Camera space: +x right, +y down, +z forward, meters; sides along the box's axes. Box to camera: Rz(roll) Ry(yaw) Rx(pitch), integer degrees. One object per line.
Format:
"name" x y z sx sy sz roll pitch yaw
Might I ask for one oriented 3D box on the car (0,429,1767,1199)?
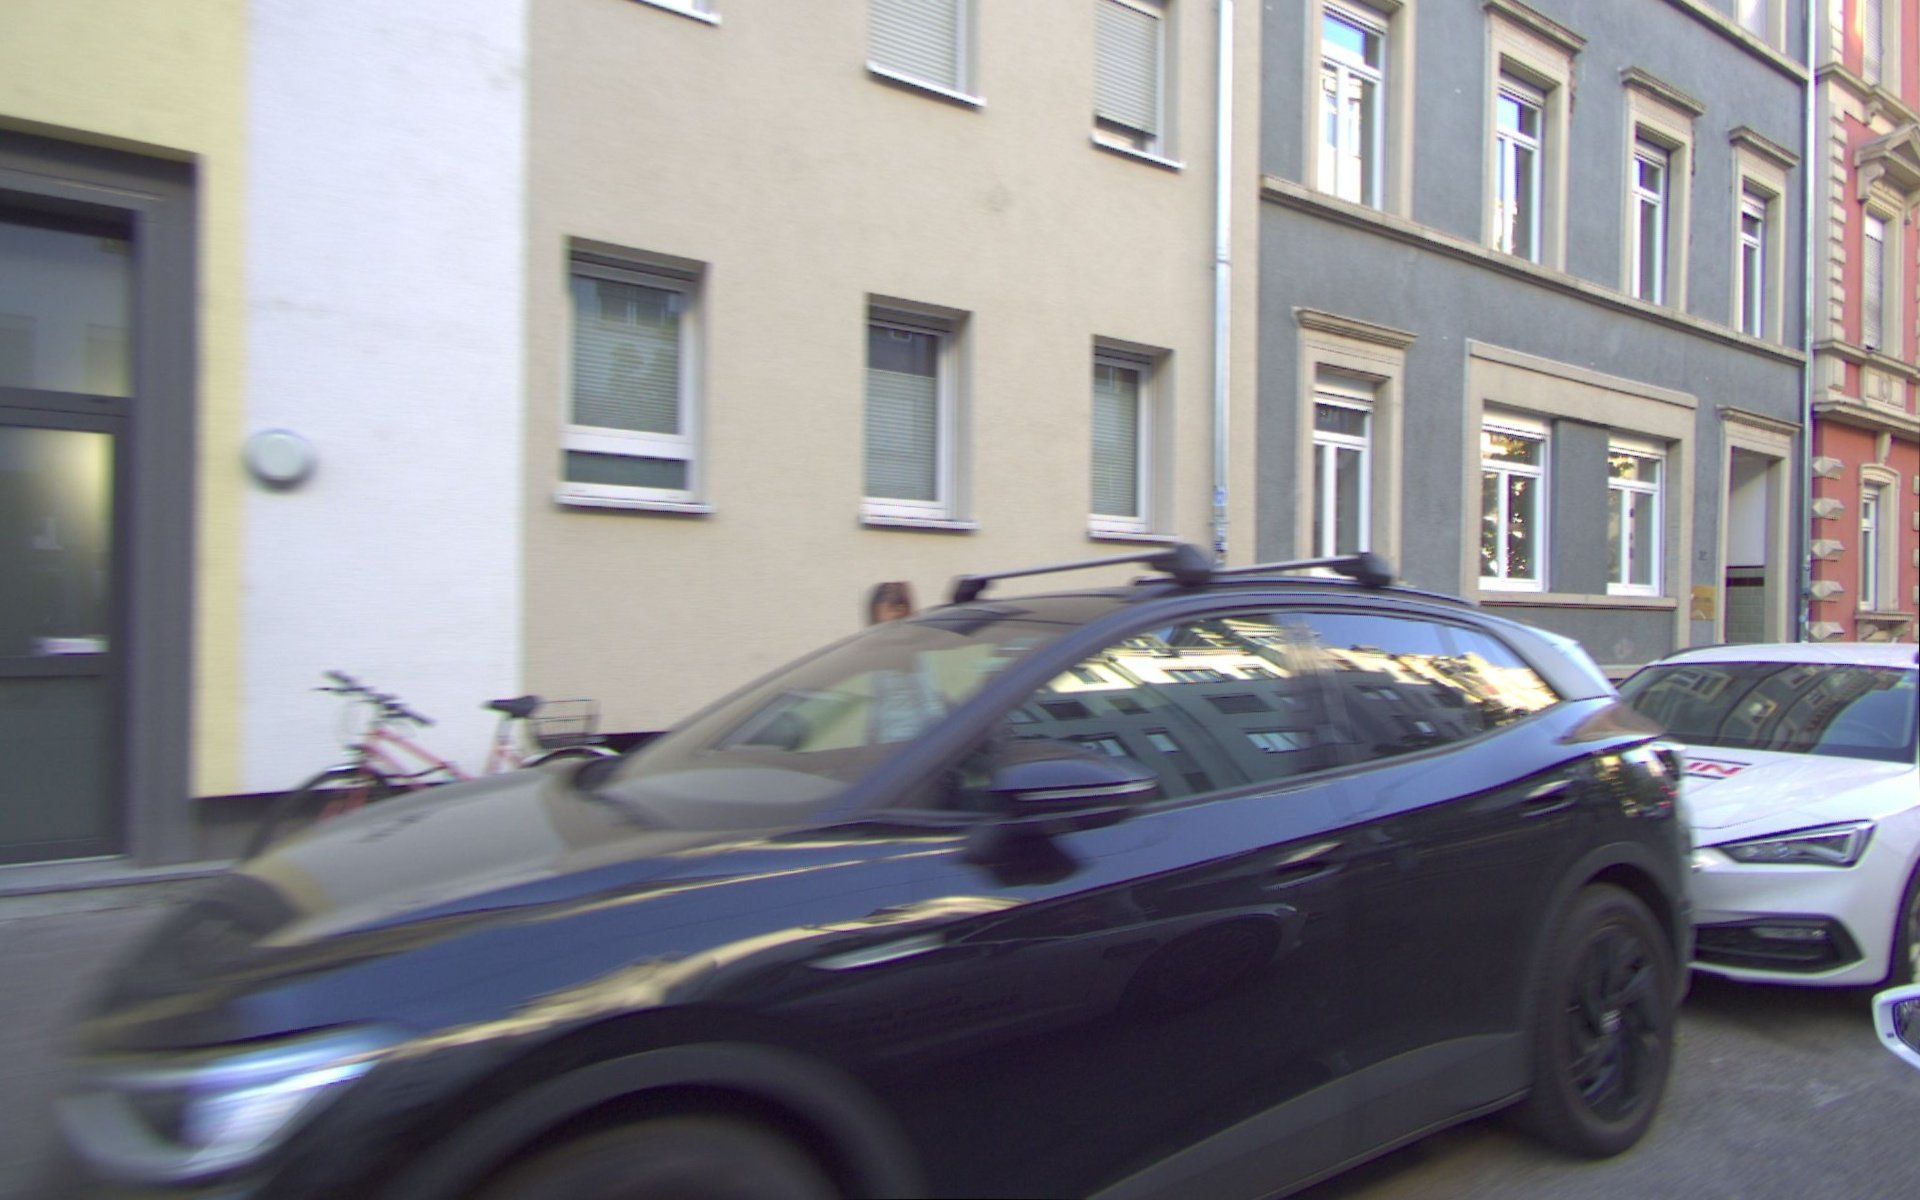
"car" 0.190 0.722 2.891 4.418 1.685 1.911 1 -3 -31

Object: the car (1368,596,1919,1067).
"car" 4.347 0.838 5.318 4.218 1.580 1.911 1 -3 -31

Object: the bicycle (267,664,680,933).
"bicycle" -2.297 0.885 4.896 1.731 1.088 0.448 1 0 -30

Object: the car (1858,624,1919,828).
"car" 9.547 0.975 8.373 4.218 1.580 1.911 1 -3 -31

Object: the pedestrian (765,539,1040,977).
"pedestrian" -0.282 0.676 4.798 1.079 1.814 0.785 1 -2 -30
